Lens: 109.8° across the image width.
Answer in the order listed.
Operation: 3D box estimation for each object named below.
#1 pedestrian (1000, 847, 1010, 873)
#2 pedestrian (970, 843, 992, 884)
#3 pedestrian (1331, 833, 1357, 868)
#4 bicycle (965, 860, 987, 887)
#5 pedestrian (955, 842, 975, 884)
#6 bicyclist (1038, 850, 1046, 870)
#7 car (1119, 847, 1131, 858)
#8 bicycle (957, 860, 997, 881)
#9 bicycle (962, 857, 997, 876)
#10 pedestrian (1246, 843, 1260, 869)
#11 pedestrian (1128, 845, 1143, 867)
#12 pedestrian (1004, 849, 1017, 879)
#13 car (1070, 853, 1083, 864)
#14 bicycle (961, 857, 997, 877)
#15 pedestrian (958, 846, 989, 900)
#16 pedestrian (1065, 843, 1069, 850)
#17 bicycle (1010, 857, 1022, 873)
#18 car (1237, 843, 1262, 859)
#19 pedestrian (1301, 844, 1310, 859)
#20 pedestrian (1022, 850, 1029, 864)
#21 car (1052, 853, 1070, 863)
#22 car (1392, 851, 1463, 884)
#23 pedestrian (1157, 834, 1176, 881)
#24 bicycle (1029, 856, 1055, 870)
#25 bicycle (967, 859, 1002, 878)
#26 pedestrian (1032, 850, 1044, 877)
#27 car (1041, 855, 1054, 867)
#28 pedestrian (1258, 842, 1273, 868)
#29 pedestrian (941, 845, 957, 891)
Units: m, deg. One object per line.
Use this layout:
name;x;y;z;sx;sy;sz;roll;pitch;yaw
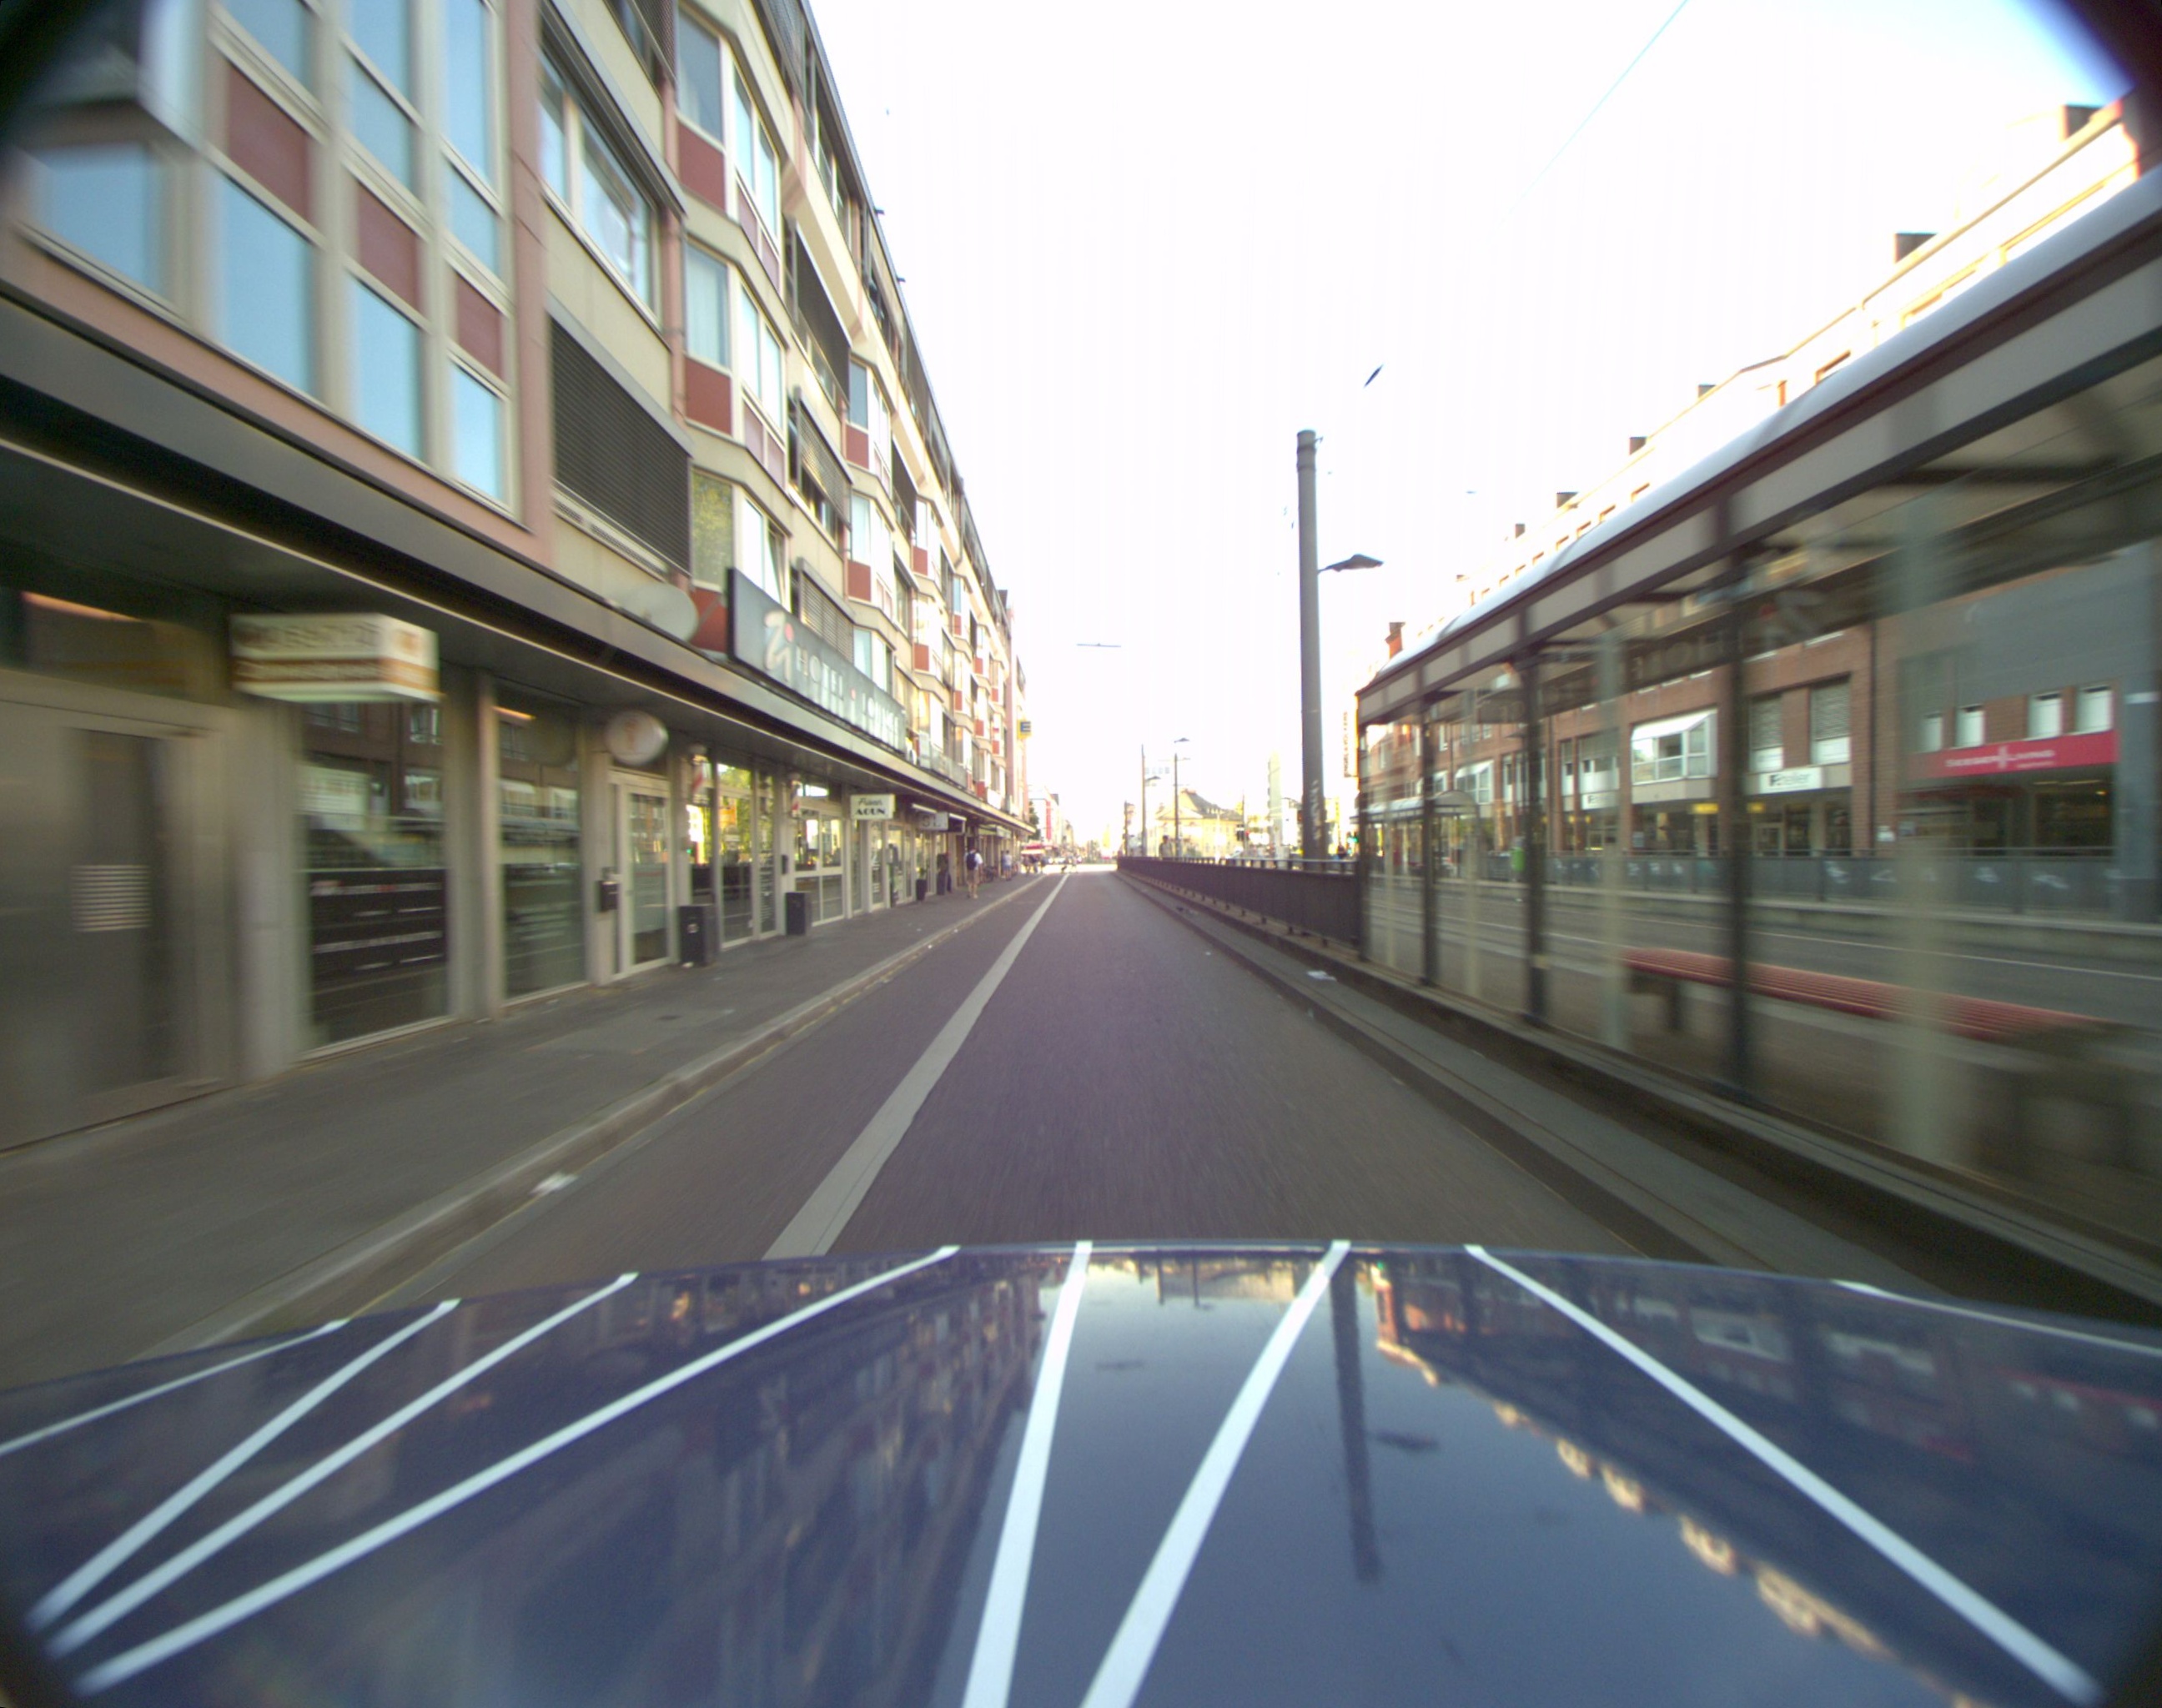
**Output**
pedestrian;-4.611;0.370;46.172;0.407;1.586;0.462;3;1;28
pedestrian;-4.651;0.439;35.405;0.917;1.856;0.779;0;2;-3
pedestrian;12.709;-0.162;36.768;0.913;1.652;0.967;-1;1;-1
bicycle;-4.516;0.845;32.886;0.659;1.061;1.794;3;1;0
pedestrian;-5.259;0.395;34.531;0.780;1.856;0.686;0;2;-20
bicyclist;-3.419;0.495;65.915;0.637;1.668;0.768;-1;1;-4
car;10.643;-0.387;182.421;2.540;2.441;5.424;-3;0;5
bicycle;-5.285;0.818;38.729;1.929;1.054;0.576;0;1;0
bicycle;-5.672;0.704;42.516;1.929;1.054;0.576;0;1;-2
pedestrian;12.451;0.137;55.108;0.859;1.757;0.811;-3;1;9
pedestrian;4.623;0.195;64.424;0.812;1.793;0.859;-4;1;-28
pedestrian;-3.872;0.541;41.766;0.634;1.664;0.771;0;2;0
car;-0.698;0.671;122.661;1.971;1.664;4.875;-3;0;0
bicycle;-5.630;0.709;41.857;1.929;1.054;0.576;0;1;-2
pedestrian;-3.573;0.618;25.319;0.800;1.713;1.061;2;2;1
pedestrian;-2.893;-1.498;156.176;0.597;1.434;0.613;-1;1;-11
bicycle;-4.335;0.711;50.819;0.678;0.971;1.842;3;1;-3
car;34.495;-0.569;155.731;2.535;3.031;6.386;2;3;37
pedestrian;33.249;-0.372;112.618;1.073;2.002;0.989;-4;1;4
pedestrian;-7.699;0.407;105.669;0.747;2.002;1.070;-4;1;-13
car;-3.584;0.788;136.220;1.974;1.664;4.868;-3;0;-16
car;18.606;0.688;41.009;1.914;1.585;4.289;0;2;1
pedestrian;3.286;0.137;29.189;0.584;1.781;0.606;-1;2;-2
bicycle;-3.399;0.798;65.915;2.176;1.117;0.768;-1;1;-4
bicycle;-5.110;0.757;40.088;1.734;0.968;0.506;2;1;5
pedestrian;-2.887;0.614;51.074;0.807;1.806;0.732;-2;1;-3
car;-5.209;1.079;119.218;1.972;1.664;4.874;-3;0;-2
pedestrian;13.352;0.070;55.077;0.860;1.757;0.811;-4;1;9
pedestrian;-4.780;0.500;27.534;0.543;1.664;0.468;0;2;-9
